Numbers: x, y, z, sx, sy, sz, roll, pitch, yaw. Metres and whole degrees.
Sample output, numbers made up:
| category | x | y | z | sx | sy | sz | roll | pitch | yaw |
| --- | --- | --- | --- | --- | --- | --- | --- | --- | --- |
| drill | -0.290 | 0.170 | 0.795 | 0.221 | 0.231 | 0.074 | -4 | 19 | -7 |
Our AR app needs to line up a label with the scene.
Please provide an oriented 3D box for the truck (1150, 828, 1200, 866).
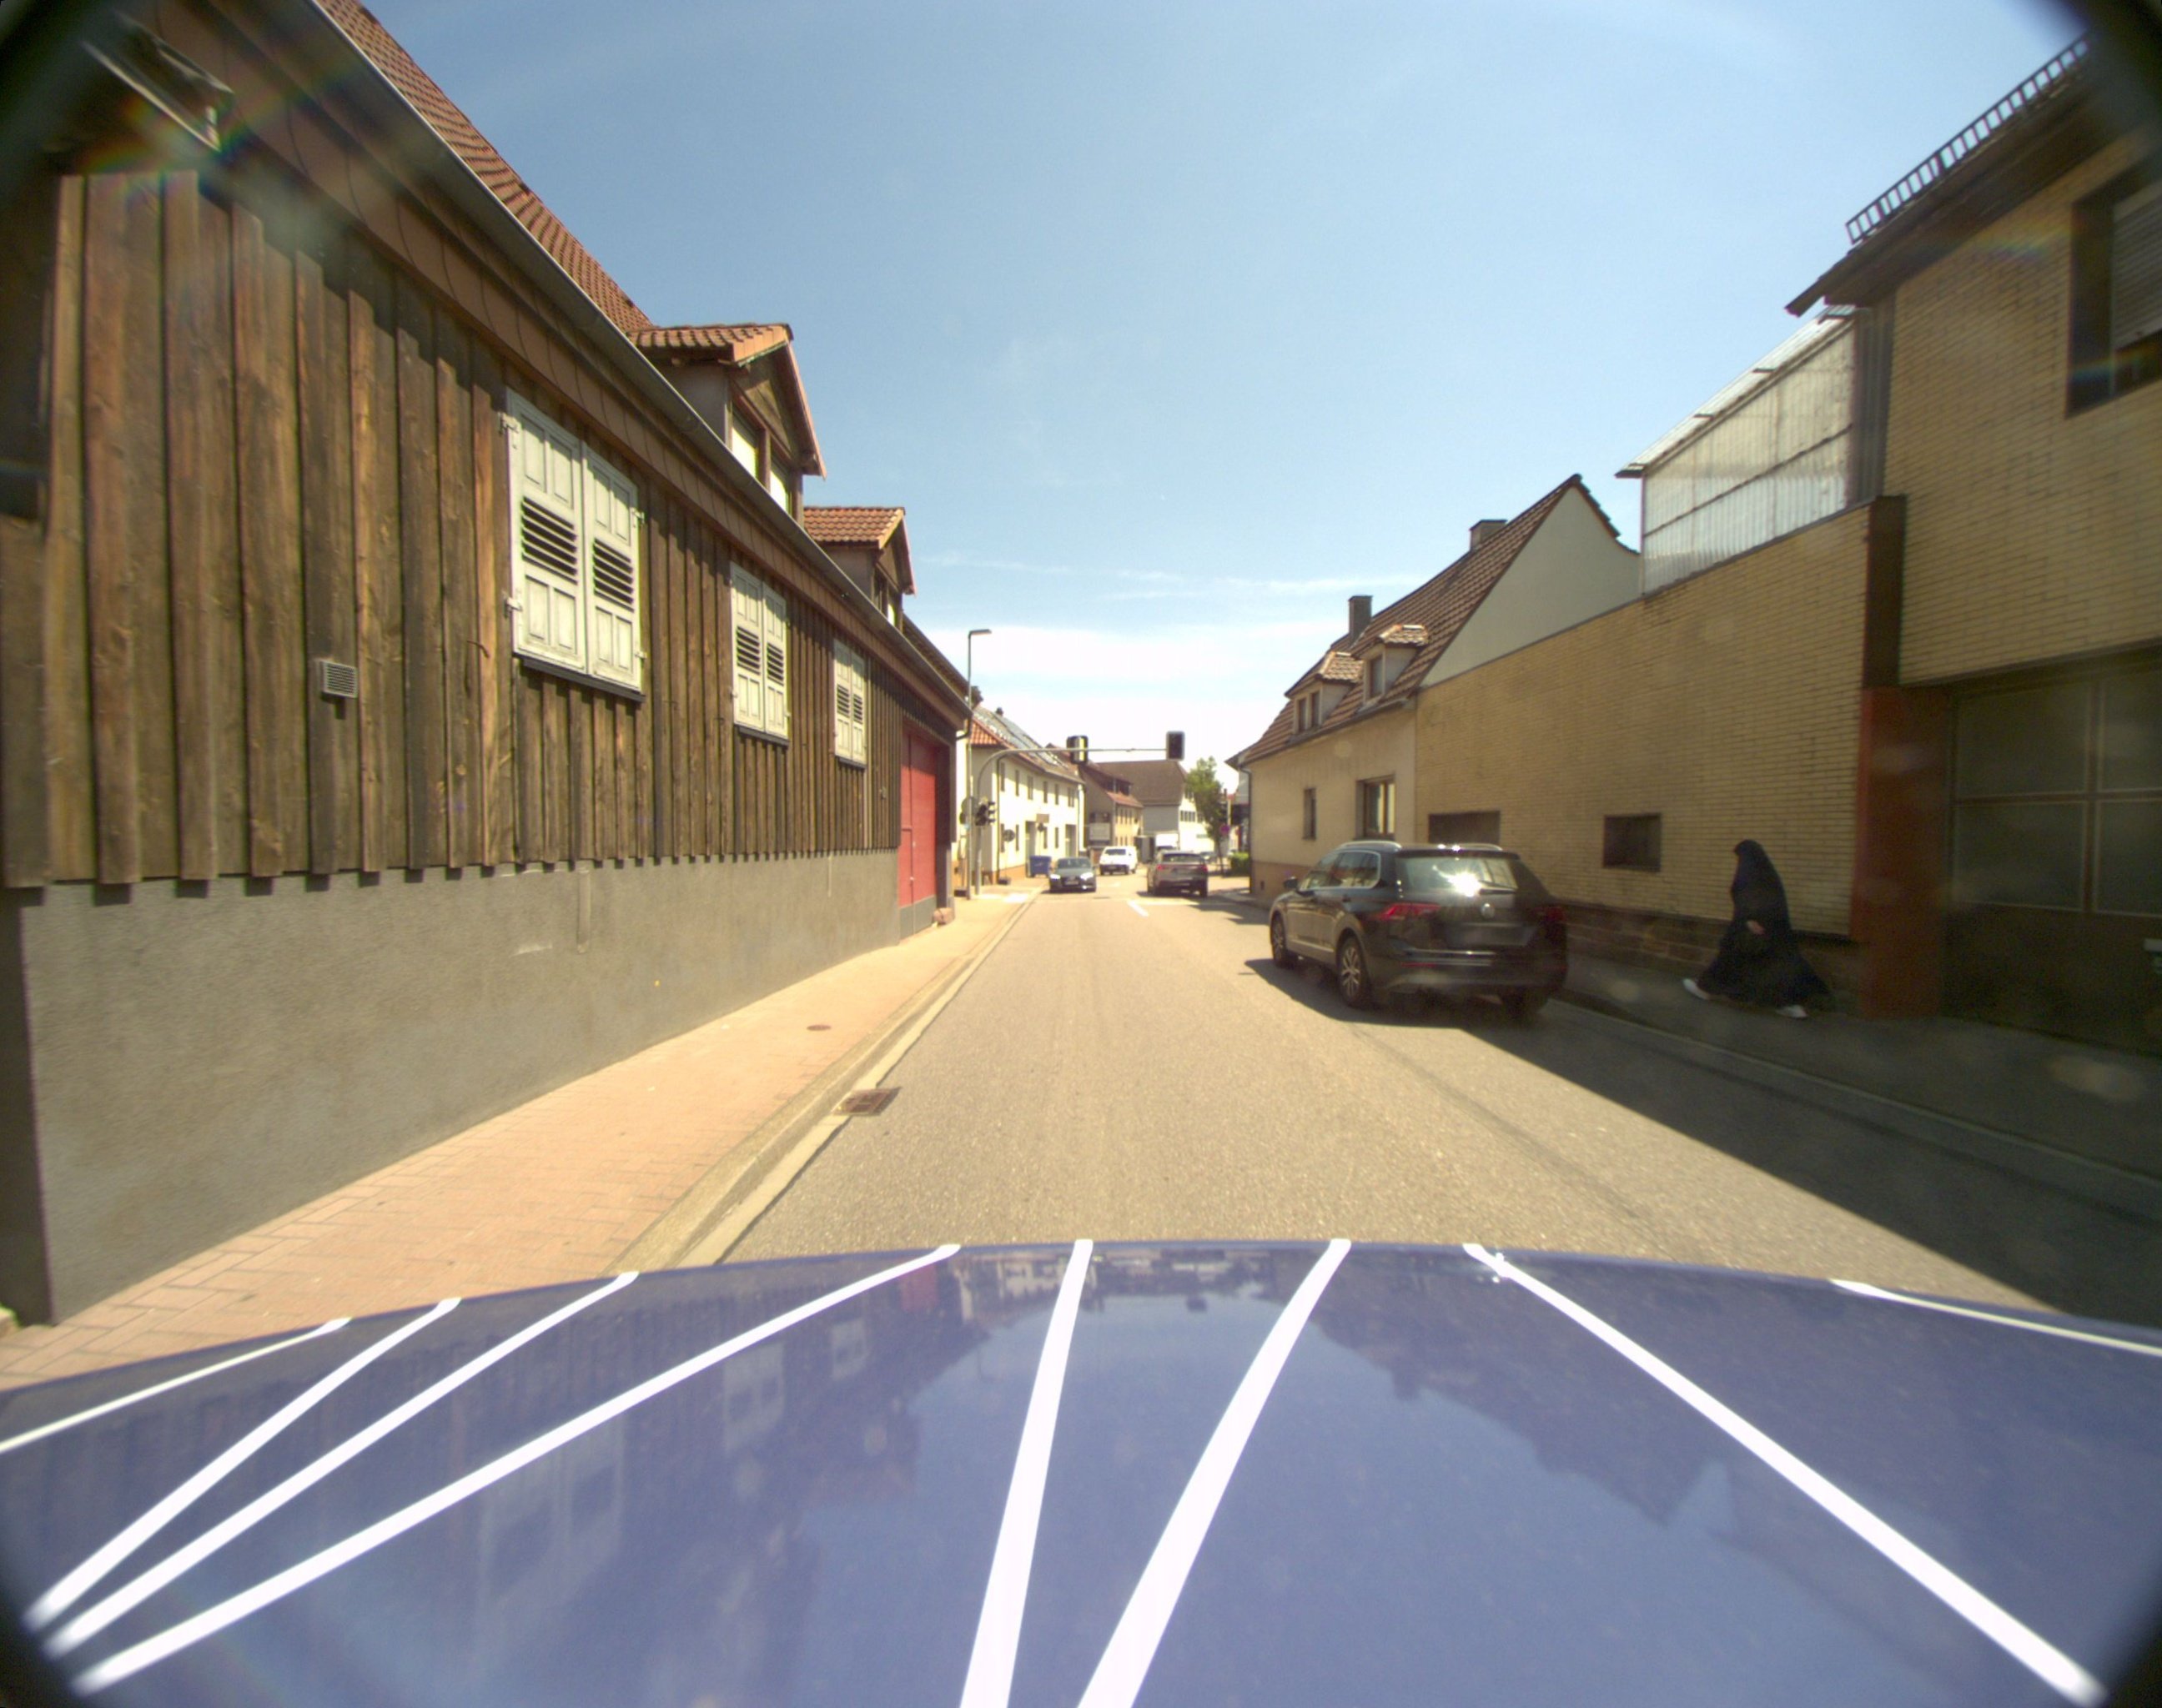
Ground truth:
| category | x | y | z | sx | sy | sz | roll | pitch | yaw |
| --- | --- | --- | --- | --- | --- | --- | --- | --- | --- |
| truck | 9.487 | -0.738 | 75.867 | 2.862 | 3.493 | 8.331 | 2 | 2 | 21 |

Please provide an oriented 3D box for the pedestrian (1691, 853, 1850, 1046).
| category | x | y | z | sx | sy | sz | roll | pitch | yaw |
| --- | --- | --- | --- | --- | --- | --- | --- | --- | --- |
| pedestrian | 6.057 | 0.808 | 6.727 | 0.663 | 1.556 | 0.754 | -2 | 5 | 2 |

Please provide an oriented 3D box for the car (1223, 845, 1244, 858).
| category | x | y | z | sx | sy | sz | roll | pitch | yaw |
| --- | --- | --- | --- | --- | --- | --- | --- | --- | --- |
| car | 20.220 | -0.362 | 100.825 | 1.995 | 1.608 | 4.006 | -1 | 1 | 23 |

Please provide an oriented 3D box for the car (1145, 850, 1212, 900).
| category | x | y | z | sx | sy | sz | roll | pitch | yaw |
| --- | --- | --- | --- | --- | --- | --- | --- | --- | --- |
| car | 3.423 | 0.696 | 27.398 | 1.834 | 1.612 | 4.260 | 1 | 1 | 0 |

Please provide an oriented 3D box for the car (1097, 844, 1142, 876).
| category | x | y | z | sx | sy | sz | roll | pitch | yaw |
| --- | --- | --- | --- | --- | --- | --- | --- | --- | --- |
| car | 2.713 | 0.345 | 51.834 | 2.076 | 1.949 | 5.523 | 0 | 2 | 14 |

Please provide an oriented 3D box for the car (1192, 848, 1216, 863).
| category | x | y | z | sx | sy | sz | roll | pitch | yaw |
| --- | --- | --- | --- | --- | --- | --- | --- | --- | --- |
| car | 14.001 | 0.138 | 86.351 | 1.864 | 1.521 | 4.006 | -1 | 1 | 23 |

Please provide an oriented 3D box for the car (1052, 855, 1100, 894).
| category | x | y | z | sx | sy | sz | roll | pitch | yaw |
| --- | --- | --- | --- | --- | --- | --- | --- | --- | --- |
| car | -0.151 | 0.781 | 30.258 | 1.786 | 1.365 | 3.606 | 0 | 1 | 1 |

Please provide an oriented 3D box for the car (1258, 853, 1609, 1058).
| category | x | y | z | sx | sy | sz | roll | pitch | yaw |
| --- | --- | --- | --- | --- | --- | --- | --- | --- | --- |
| car | 3.387 | 0.830 | 8.396 | 1.816 | 1.600 | 4.336 | 2 | 1 | 0 |
